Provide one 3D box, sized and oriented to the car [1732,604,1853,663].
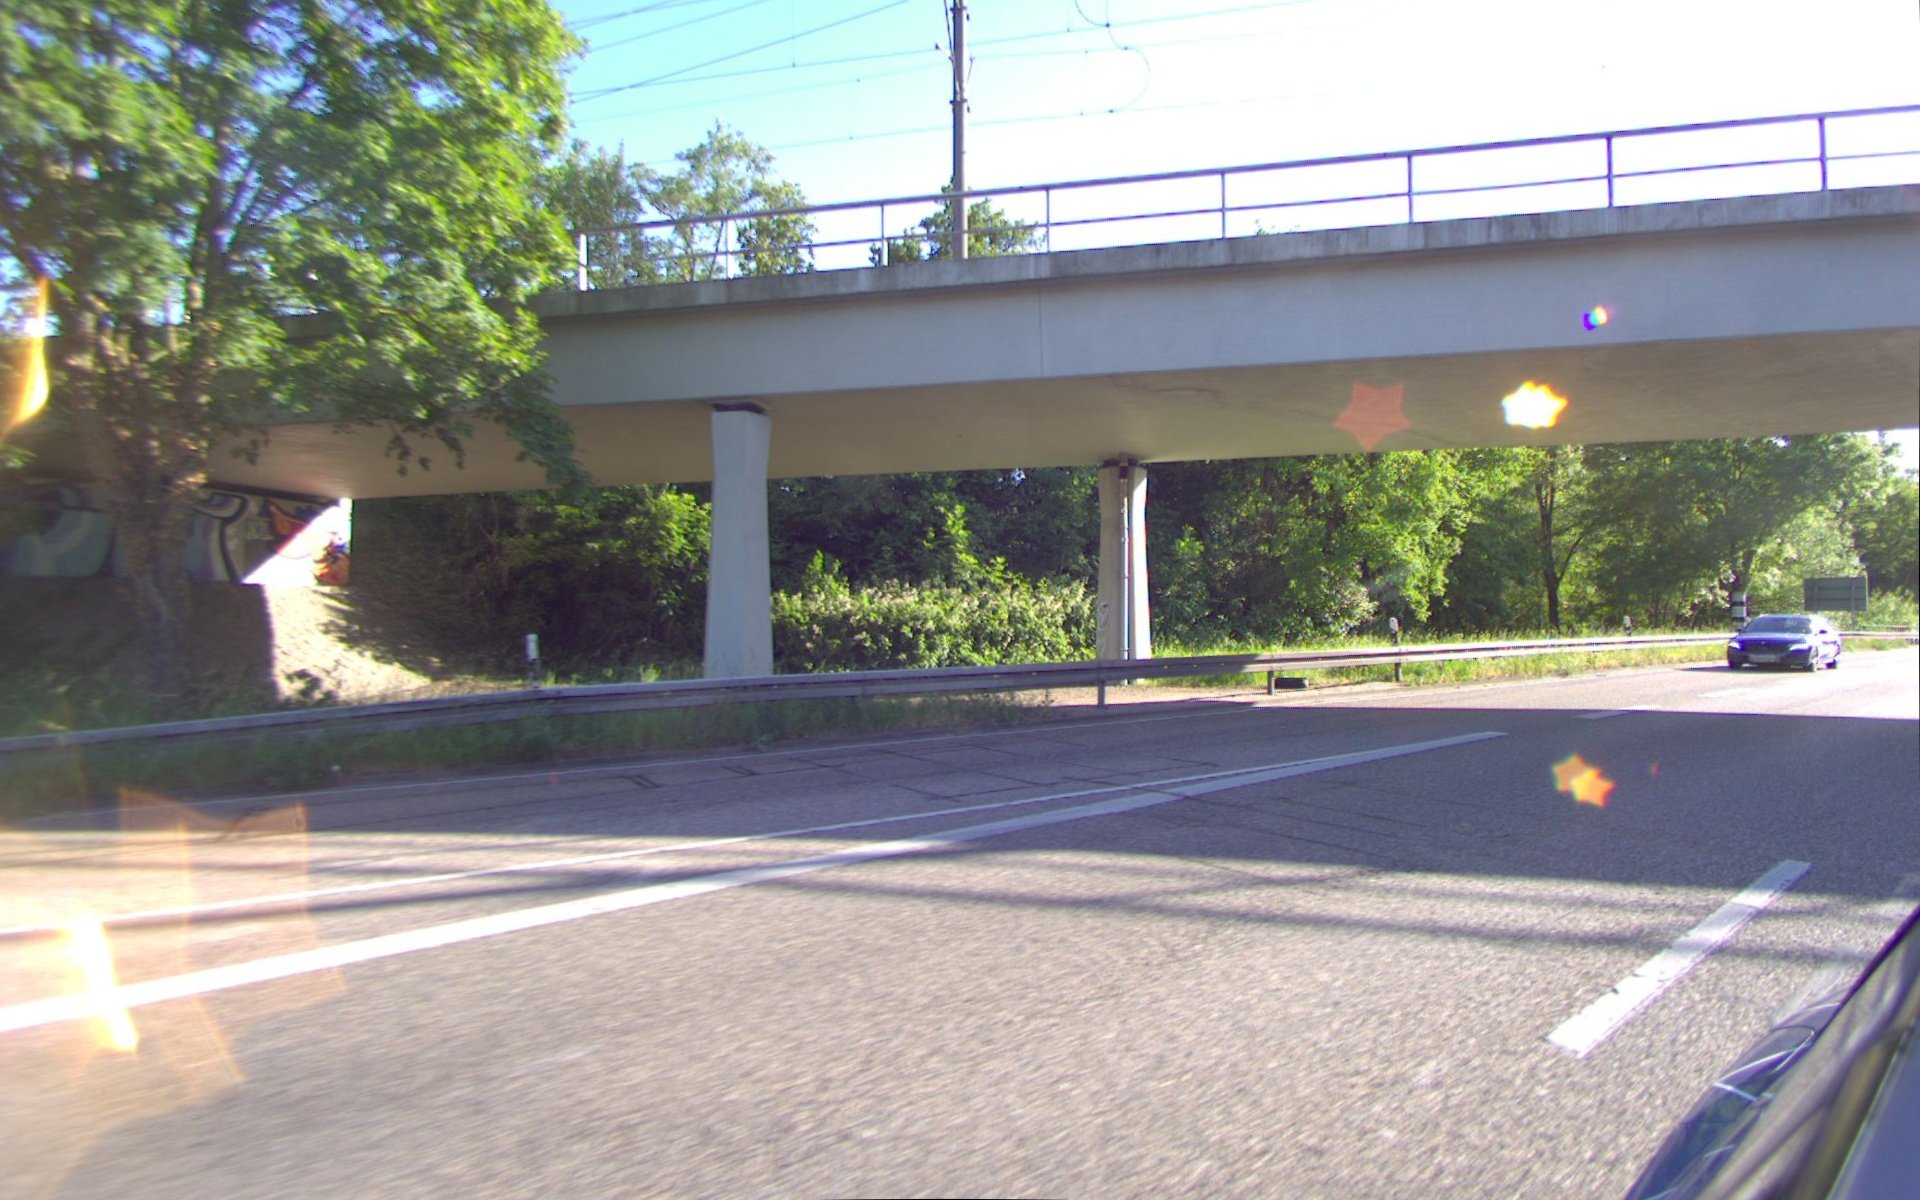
[{"bbox_3d":[22.001,0.843,26.693,3.983,1.427,1.762,1,-1,-40],"label":"car"}]
